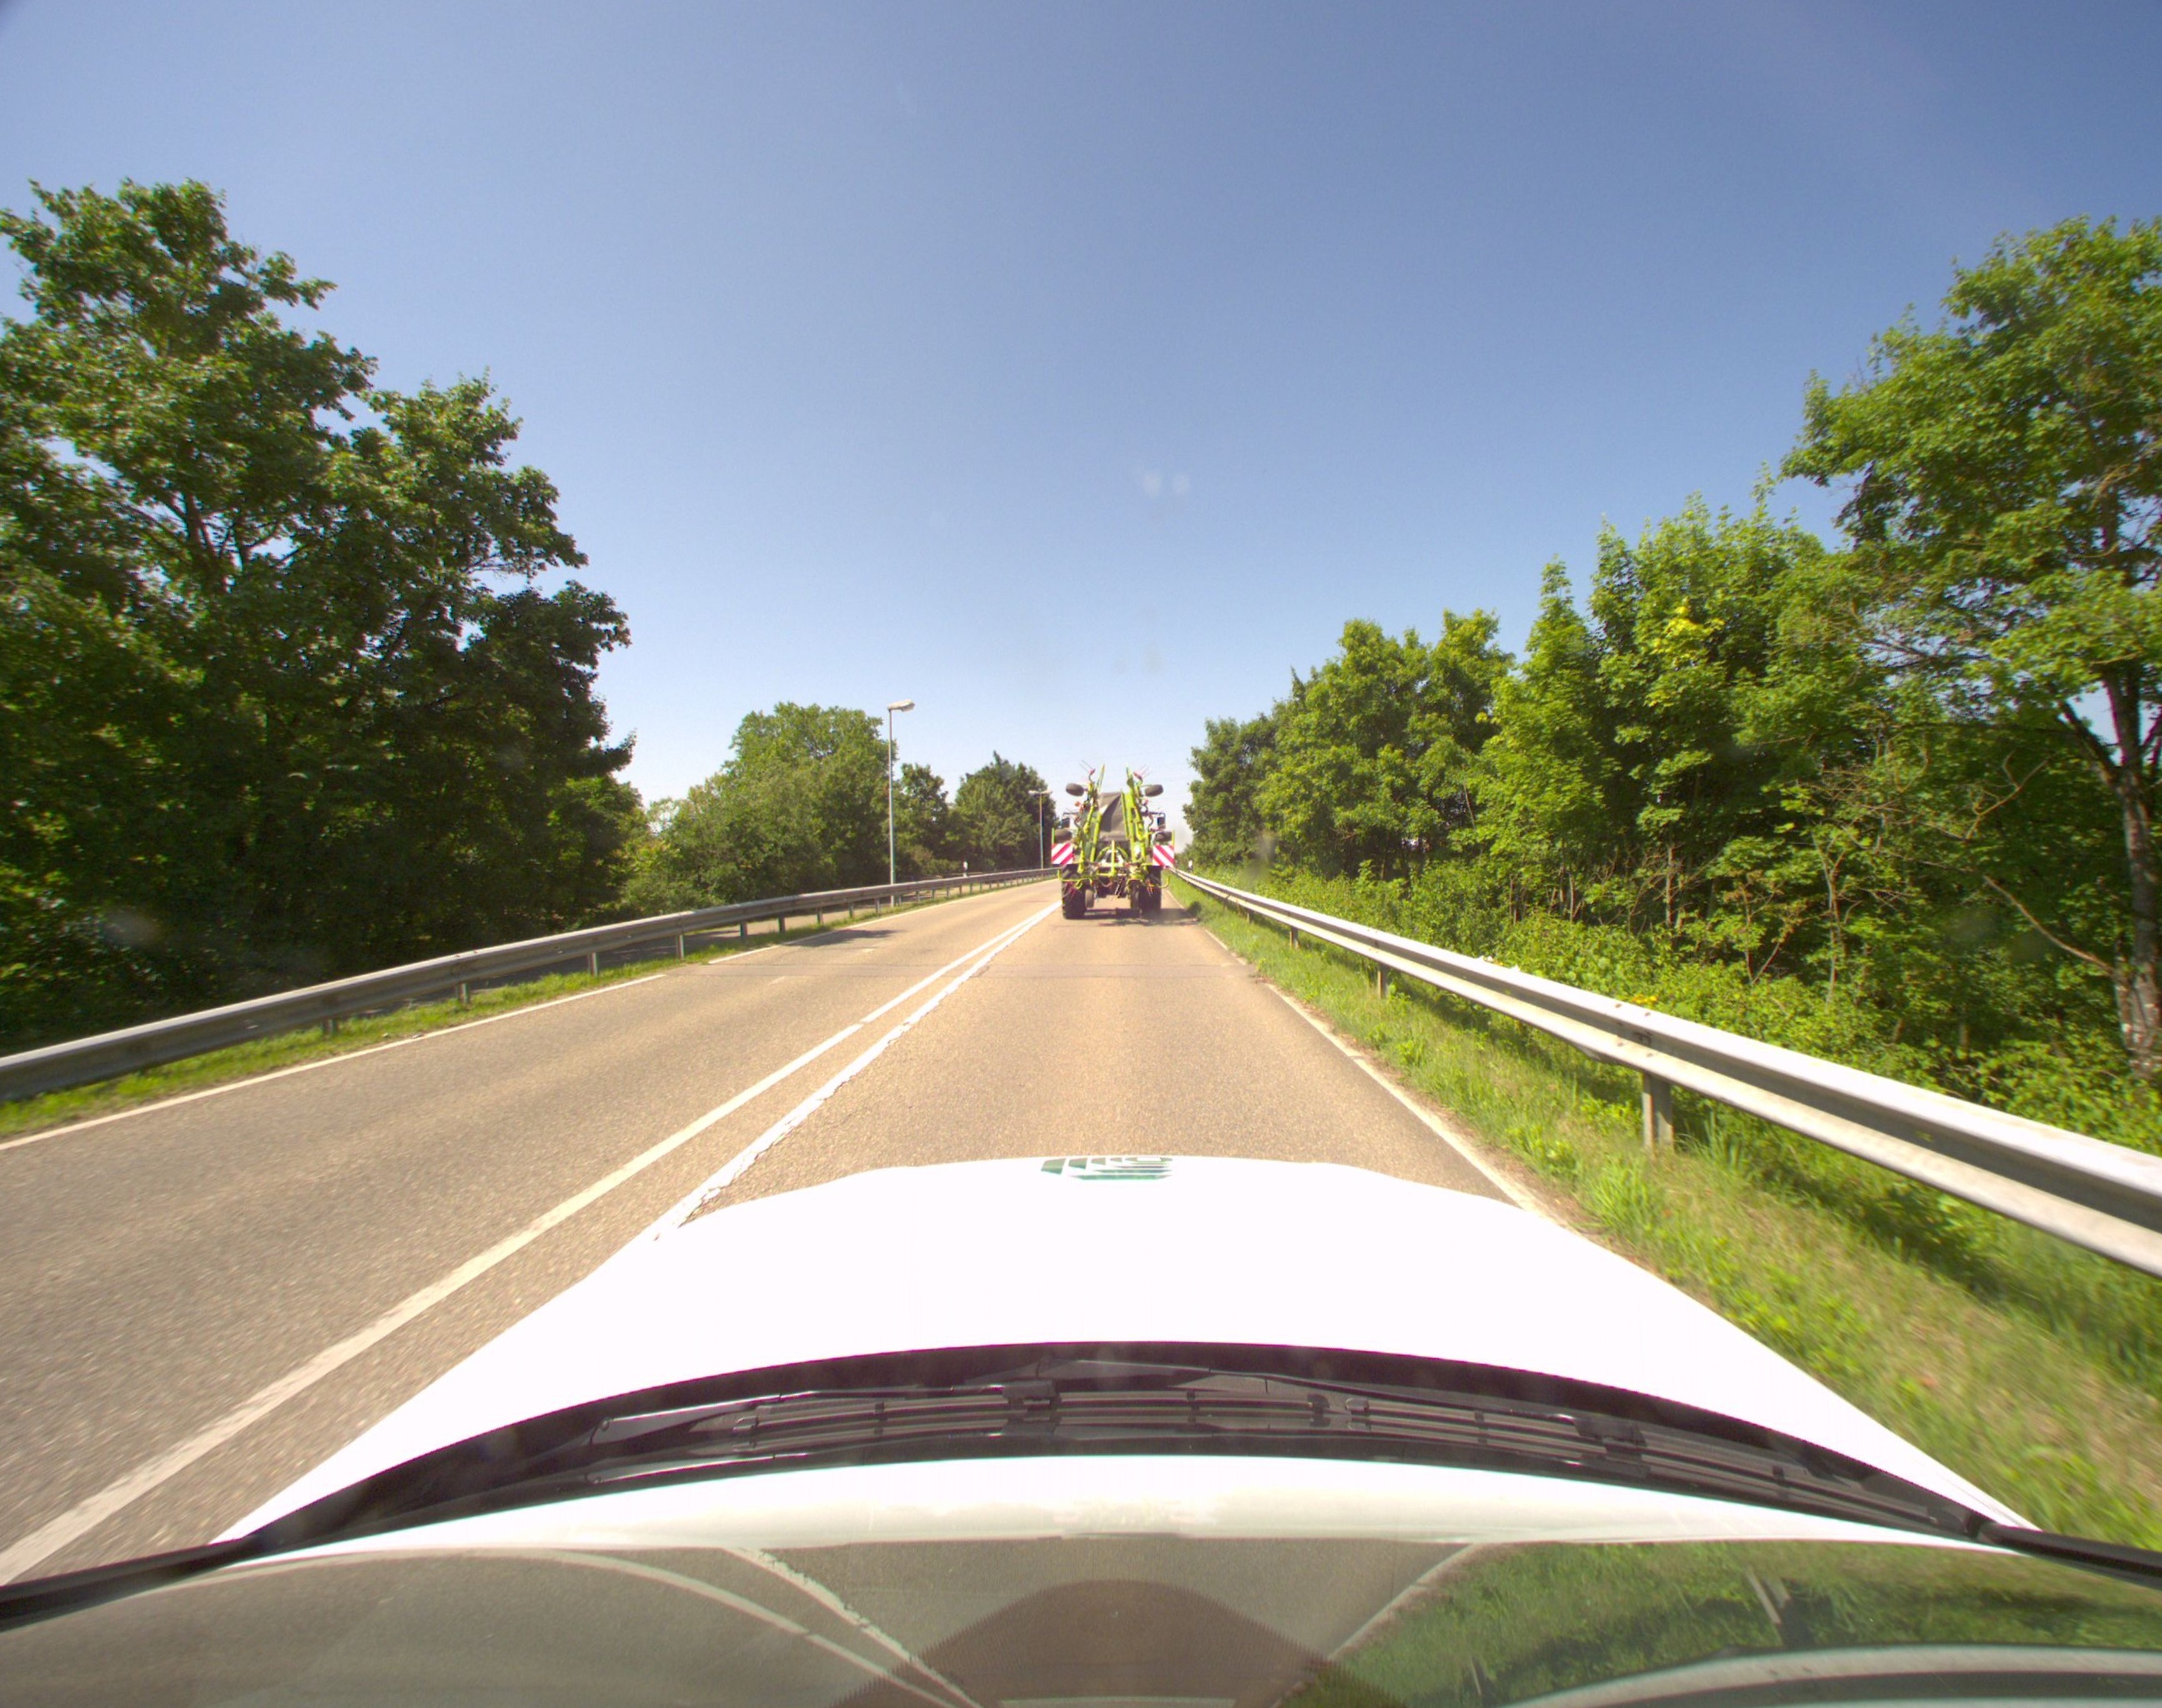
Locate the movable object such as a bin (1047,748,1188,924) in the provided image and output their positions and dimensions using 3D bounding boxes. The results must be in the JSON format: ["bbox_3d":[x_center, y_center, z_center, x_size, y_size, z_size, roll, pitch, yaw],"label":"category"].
[{"bbox_3d":[0.769,-0.378,18.929,2.745,3.444,5.671,-1,0,1],"label":"movable object such as a bin"}]
